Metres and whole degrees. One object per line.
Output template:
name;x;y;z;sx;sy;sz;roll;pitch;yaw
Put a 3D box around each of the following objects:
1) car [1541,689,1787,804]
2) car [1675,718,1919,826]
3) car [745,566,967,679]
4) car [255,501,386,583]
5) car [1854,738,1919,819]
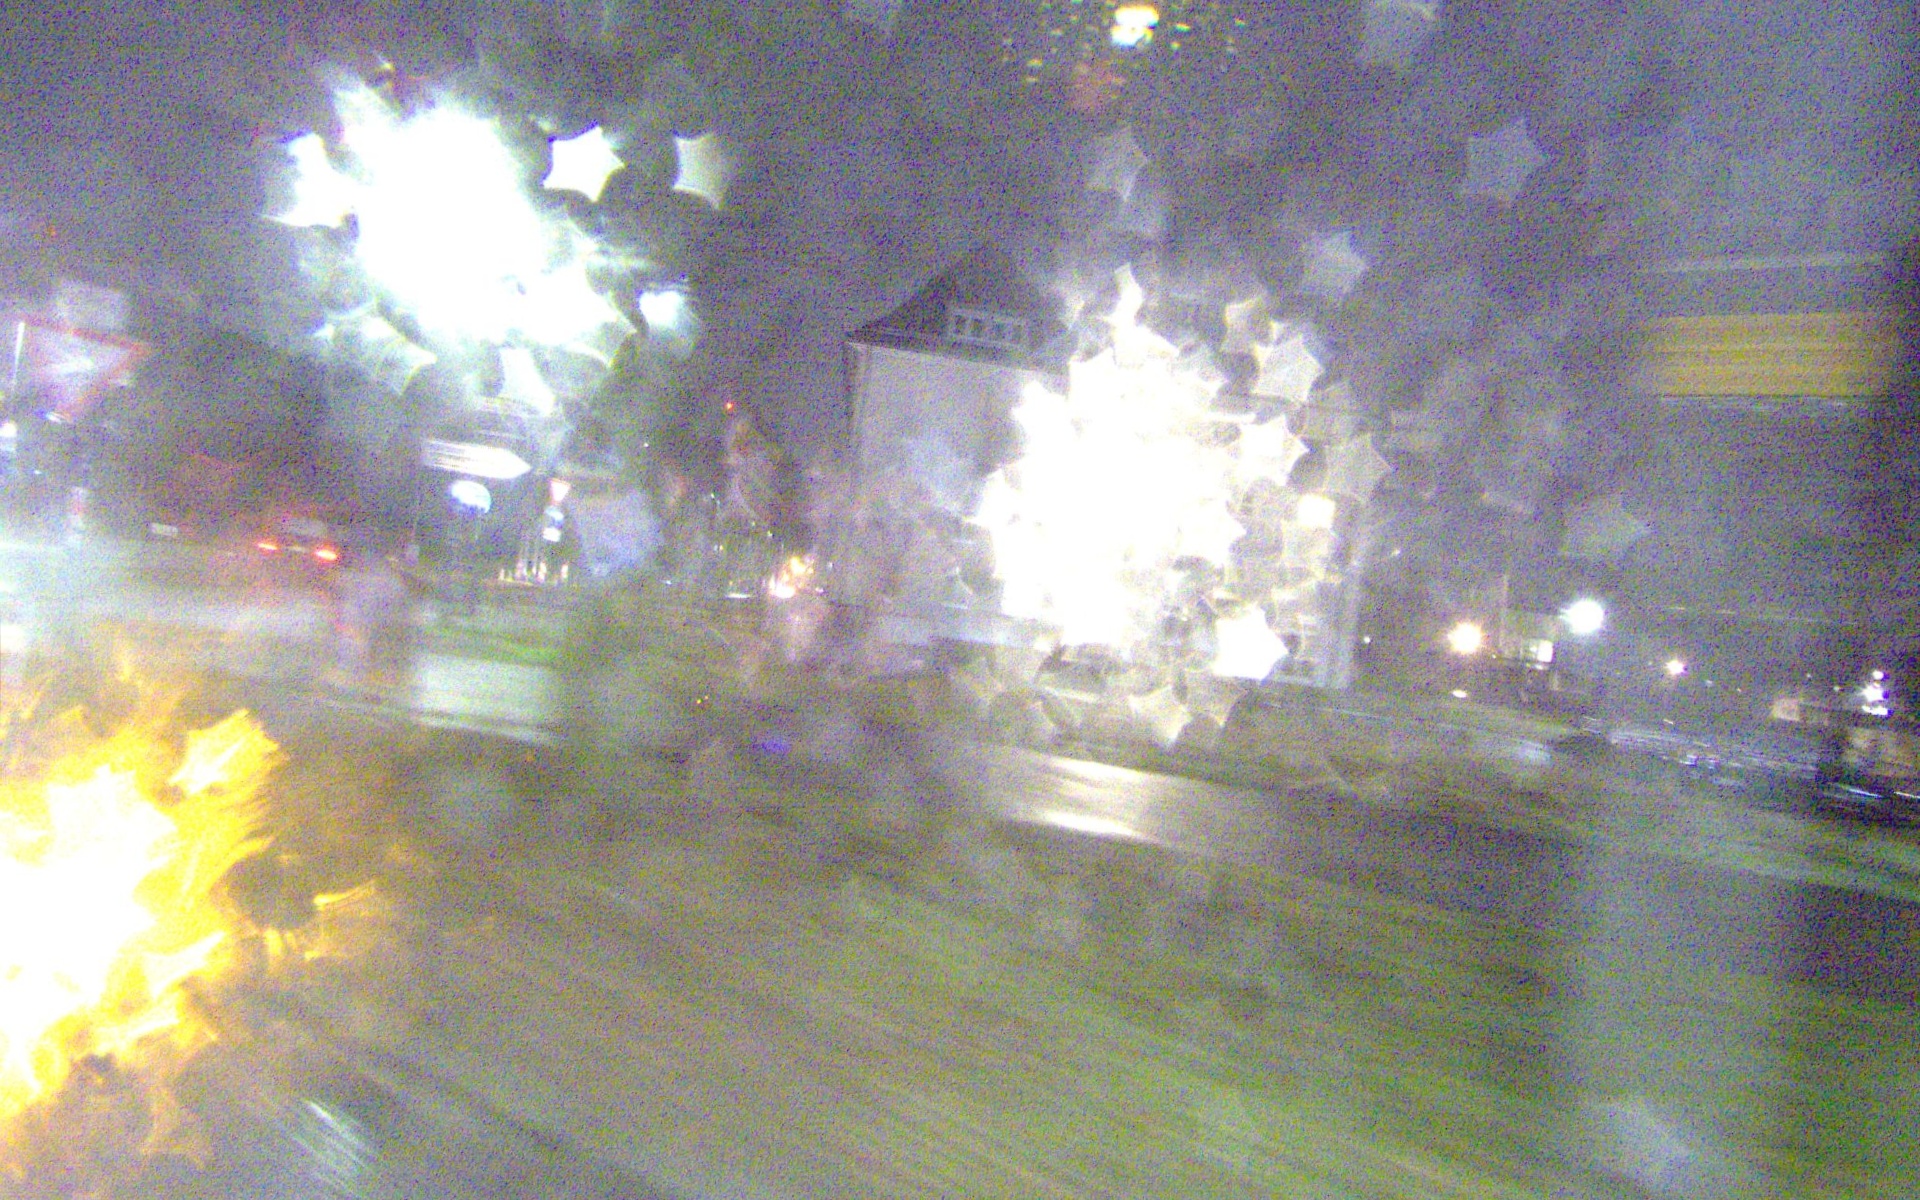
car;13.789;2.807;20.026;1.692;1.514;3.907;8;-1;-7
car;16.365;3.277;19.588;1.692;1.513;3.913;7;-4;-7
car;-1.929;0.435;19.615;3.924;1.704;1.919;6;0;2
car;-19.597;-1.711;31.080;1.970;2.037;4.542;8;-1;-16
car;21.089;3.964;20.595;1.692;1.514;3.907;8;-1;-7
